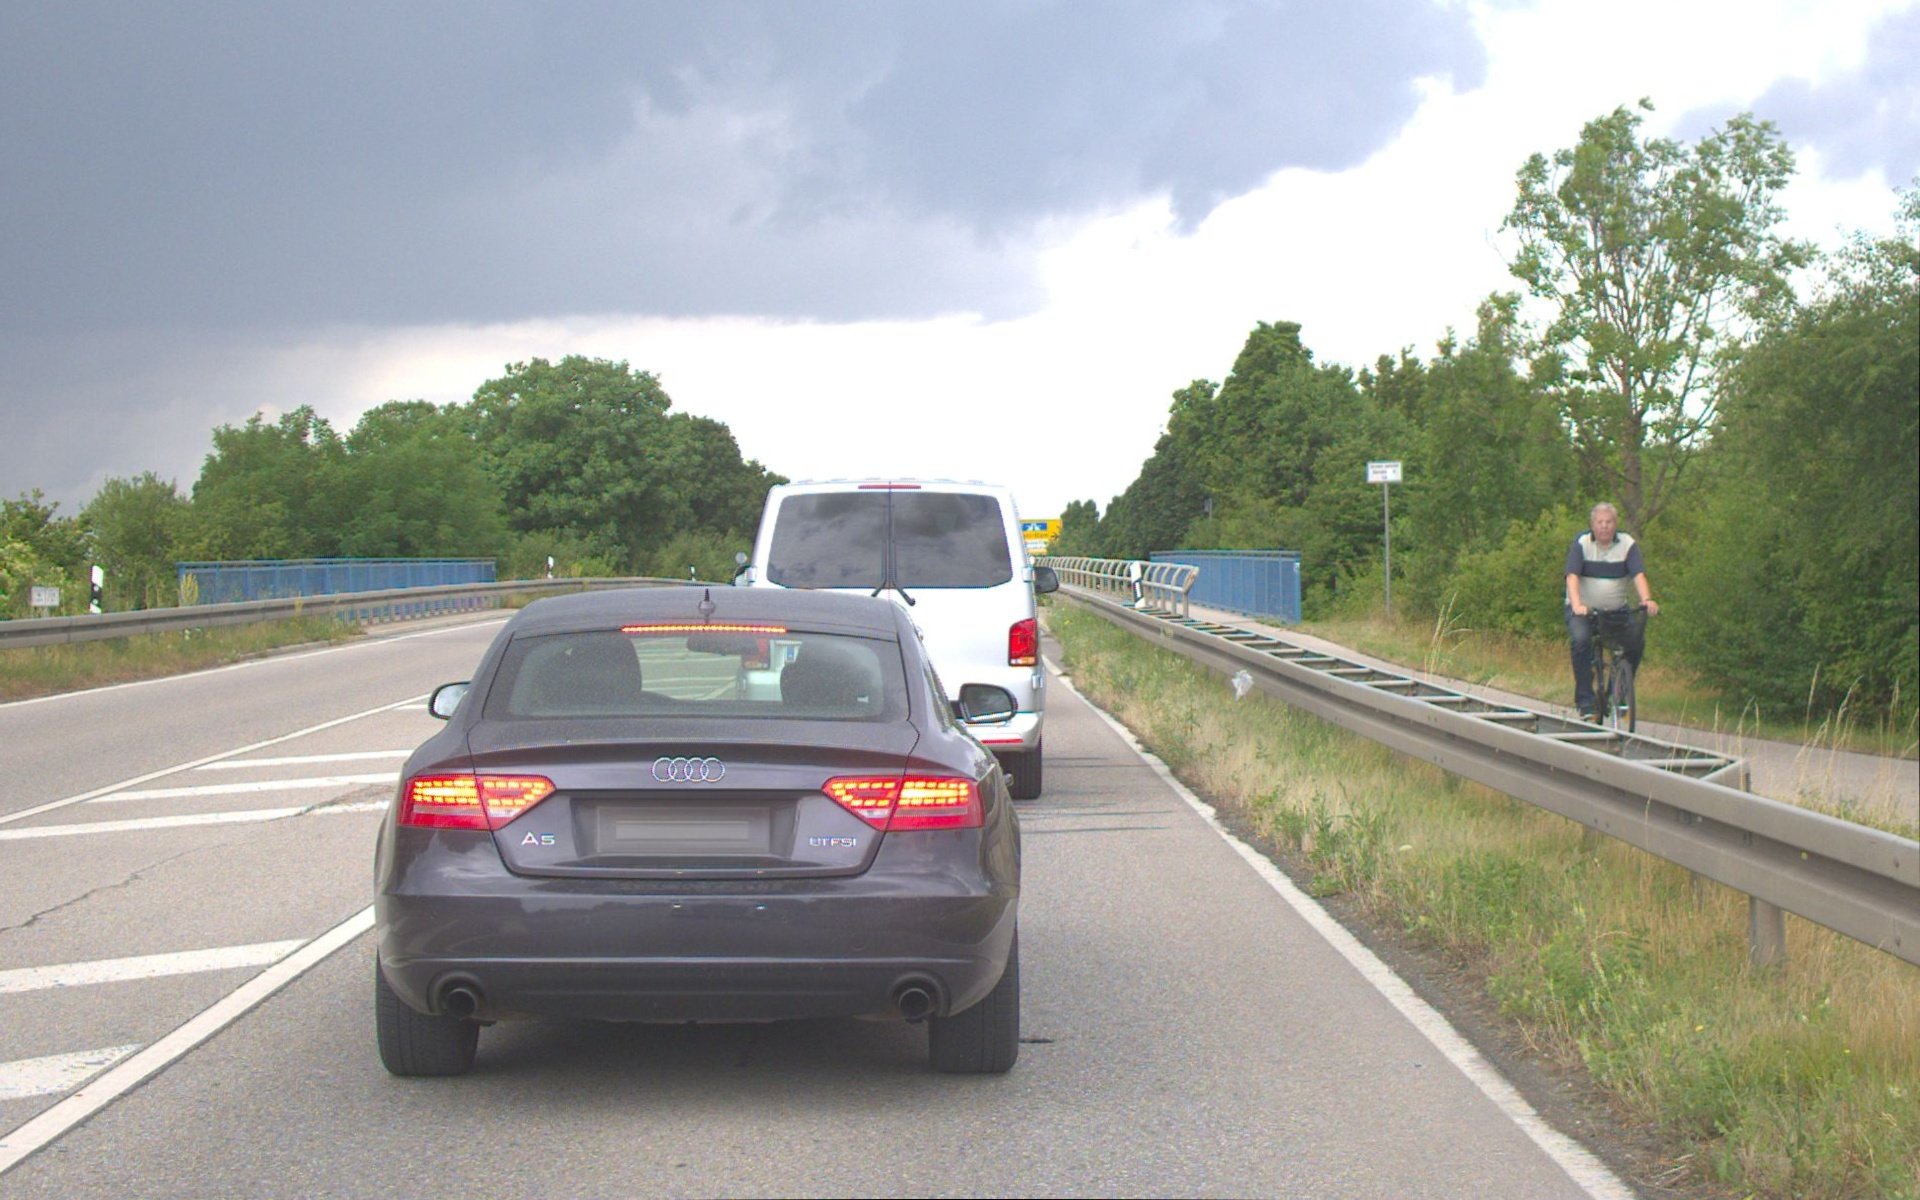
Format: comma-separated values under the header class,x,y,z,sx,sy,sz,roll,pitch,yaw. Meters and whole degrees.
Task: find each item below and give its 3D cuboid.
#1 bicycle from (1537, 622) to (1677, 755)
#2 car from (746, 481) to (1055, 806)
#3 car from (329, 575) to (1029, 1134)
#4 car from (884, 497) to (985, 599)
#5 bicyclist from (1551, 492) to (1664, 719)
class,x,y,z,sx,sy,sz,roll,pitch,yaw
bicycle,4.790,0.639,25.544,0.666,0.917,1.830,-1,1,-1
car,-0.368,0.242,22.071,1.785,1.883,4.000,1,0,-1
car,-0.740,0.644,10.840,1.785,1.419,4.000,1,0,-1
car,-0.628,-1.330,87.269,2.447,2.495,5.041,1,1,0
bicyclist,4.782,0.035,25.438,0.647,1.639,0.866,-1,0,-1
